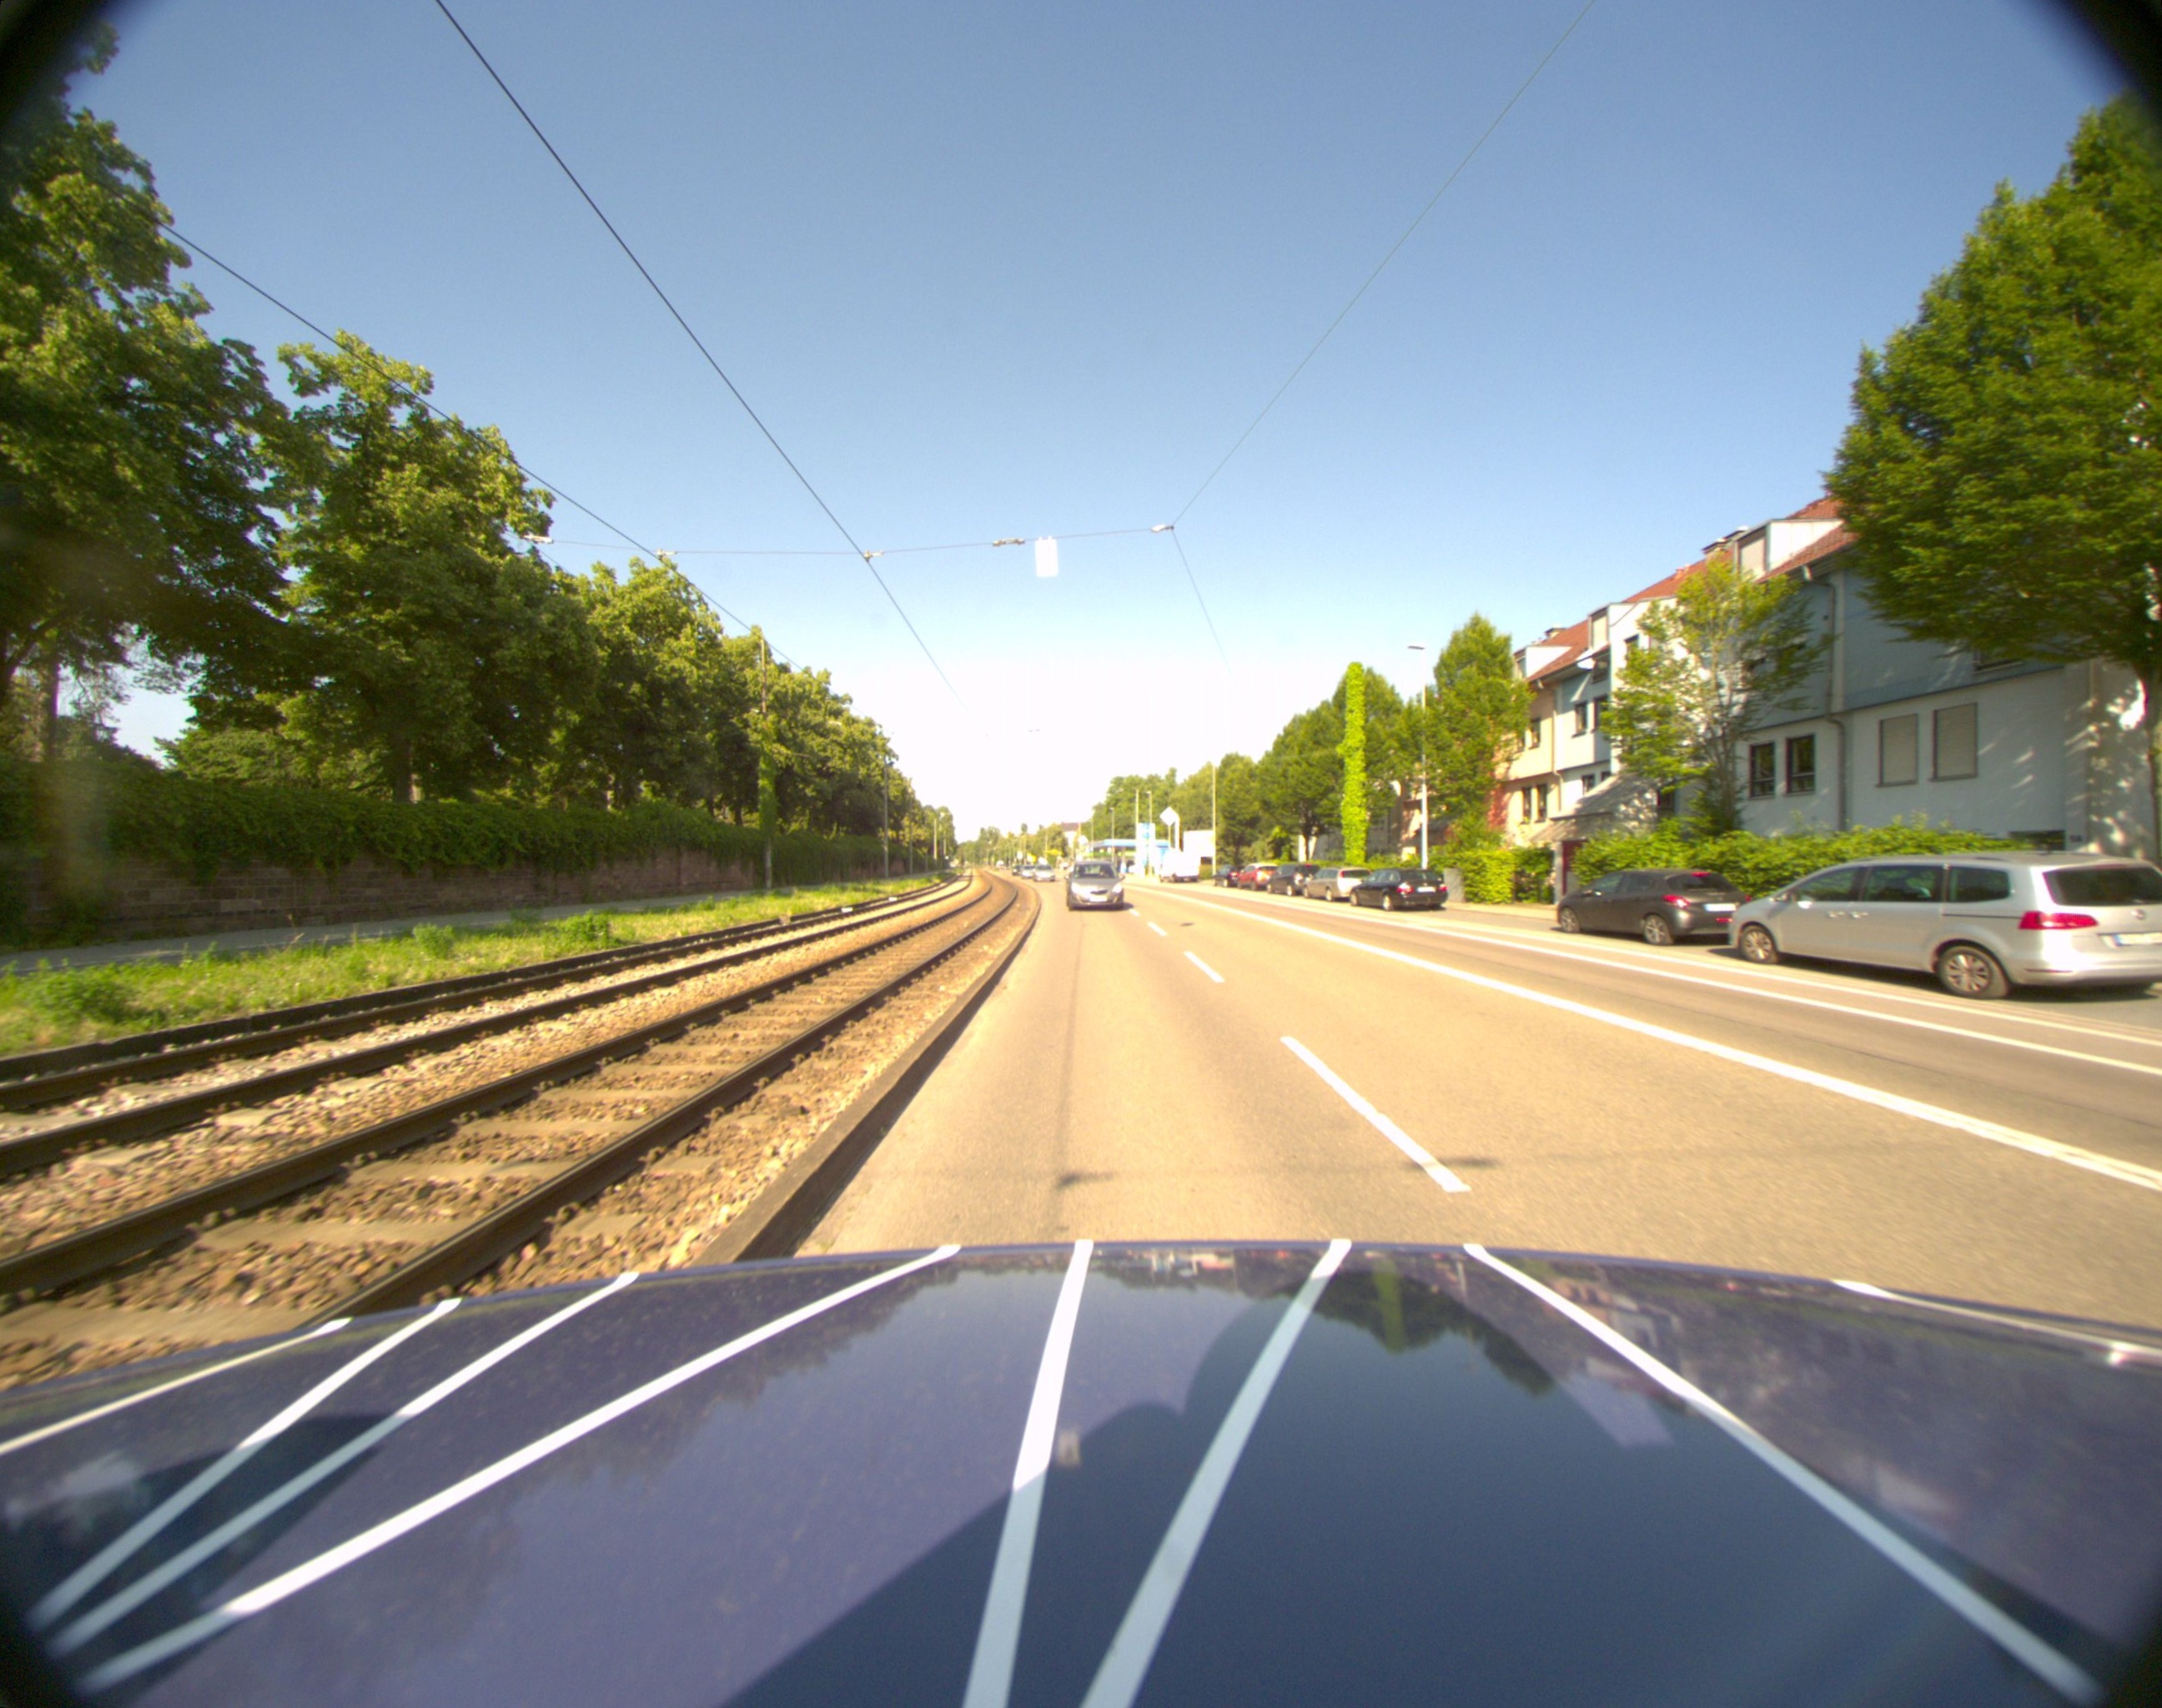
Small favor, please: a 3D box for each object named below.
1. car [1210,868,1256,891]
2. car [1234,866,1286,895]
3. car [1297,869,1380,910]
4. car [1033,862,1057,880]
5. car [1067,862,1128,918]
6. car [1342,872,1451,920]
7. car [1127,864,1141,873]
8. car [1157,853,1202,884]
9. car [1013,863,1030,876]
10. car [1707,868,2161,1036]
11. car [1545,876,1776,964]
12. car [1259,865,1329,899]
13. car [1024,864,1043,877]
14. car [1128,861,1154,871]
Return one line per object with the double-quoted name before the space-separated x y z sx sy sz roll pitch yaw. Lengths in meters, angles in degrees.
"car" 9.884 1.651 49.755 1.657 1.416 4.711 0 -1 -5
"car" 10.385 1.520 44.410 1.768 1.564 4.160 0 0 -5
"car" 11.123 1.484 33.214 1.717 1.463 4.842 -2 0 -4
"car" -3.160 1.452 65.672 1.711 1.487 3.998 -1 0 -7
"car" 0.478 1.045 23.804 1.730 1.574 3.763 0 0 0
"car" 11.161 1.429 27.263 1.714 1.463 4.909 -2 0 -2
"car" 9.441 2.619 134.908 1.742 1.481 4.272 1 -1 -7
"car" 8.256 1.253 64.626 2.159 2.443 6.180 -2 -1 -8
"car" -7.706 1.981 97.551 1.711 1.581 3.996 -1 0 -11
"car" 11.401 1.087 10.456 1.672 1.691 4.825 -2 0 2
"car" 11.650 1.250 15.681 1.620 1.457 4.058 -1 0 -1
"car" 10.719 1.381 38.564 1.768 1.564 4.434 -1 0 -8
"car" -4.891 1.654 77.765 1.580 1.306 3.997 -1 0 -10
"car" 11.971 2.317 152.215 5.085 1.929 1.857 1 -1 -3
